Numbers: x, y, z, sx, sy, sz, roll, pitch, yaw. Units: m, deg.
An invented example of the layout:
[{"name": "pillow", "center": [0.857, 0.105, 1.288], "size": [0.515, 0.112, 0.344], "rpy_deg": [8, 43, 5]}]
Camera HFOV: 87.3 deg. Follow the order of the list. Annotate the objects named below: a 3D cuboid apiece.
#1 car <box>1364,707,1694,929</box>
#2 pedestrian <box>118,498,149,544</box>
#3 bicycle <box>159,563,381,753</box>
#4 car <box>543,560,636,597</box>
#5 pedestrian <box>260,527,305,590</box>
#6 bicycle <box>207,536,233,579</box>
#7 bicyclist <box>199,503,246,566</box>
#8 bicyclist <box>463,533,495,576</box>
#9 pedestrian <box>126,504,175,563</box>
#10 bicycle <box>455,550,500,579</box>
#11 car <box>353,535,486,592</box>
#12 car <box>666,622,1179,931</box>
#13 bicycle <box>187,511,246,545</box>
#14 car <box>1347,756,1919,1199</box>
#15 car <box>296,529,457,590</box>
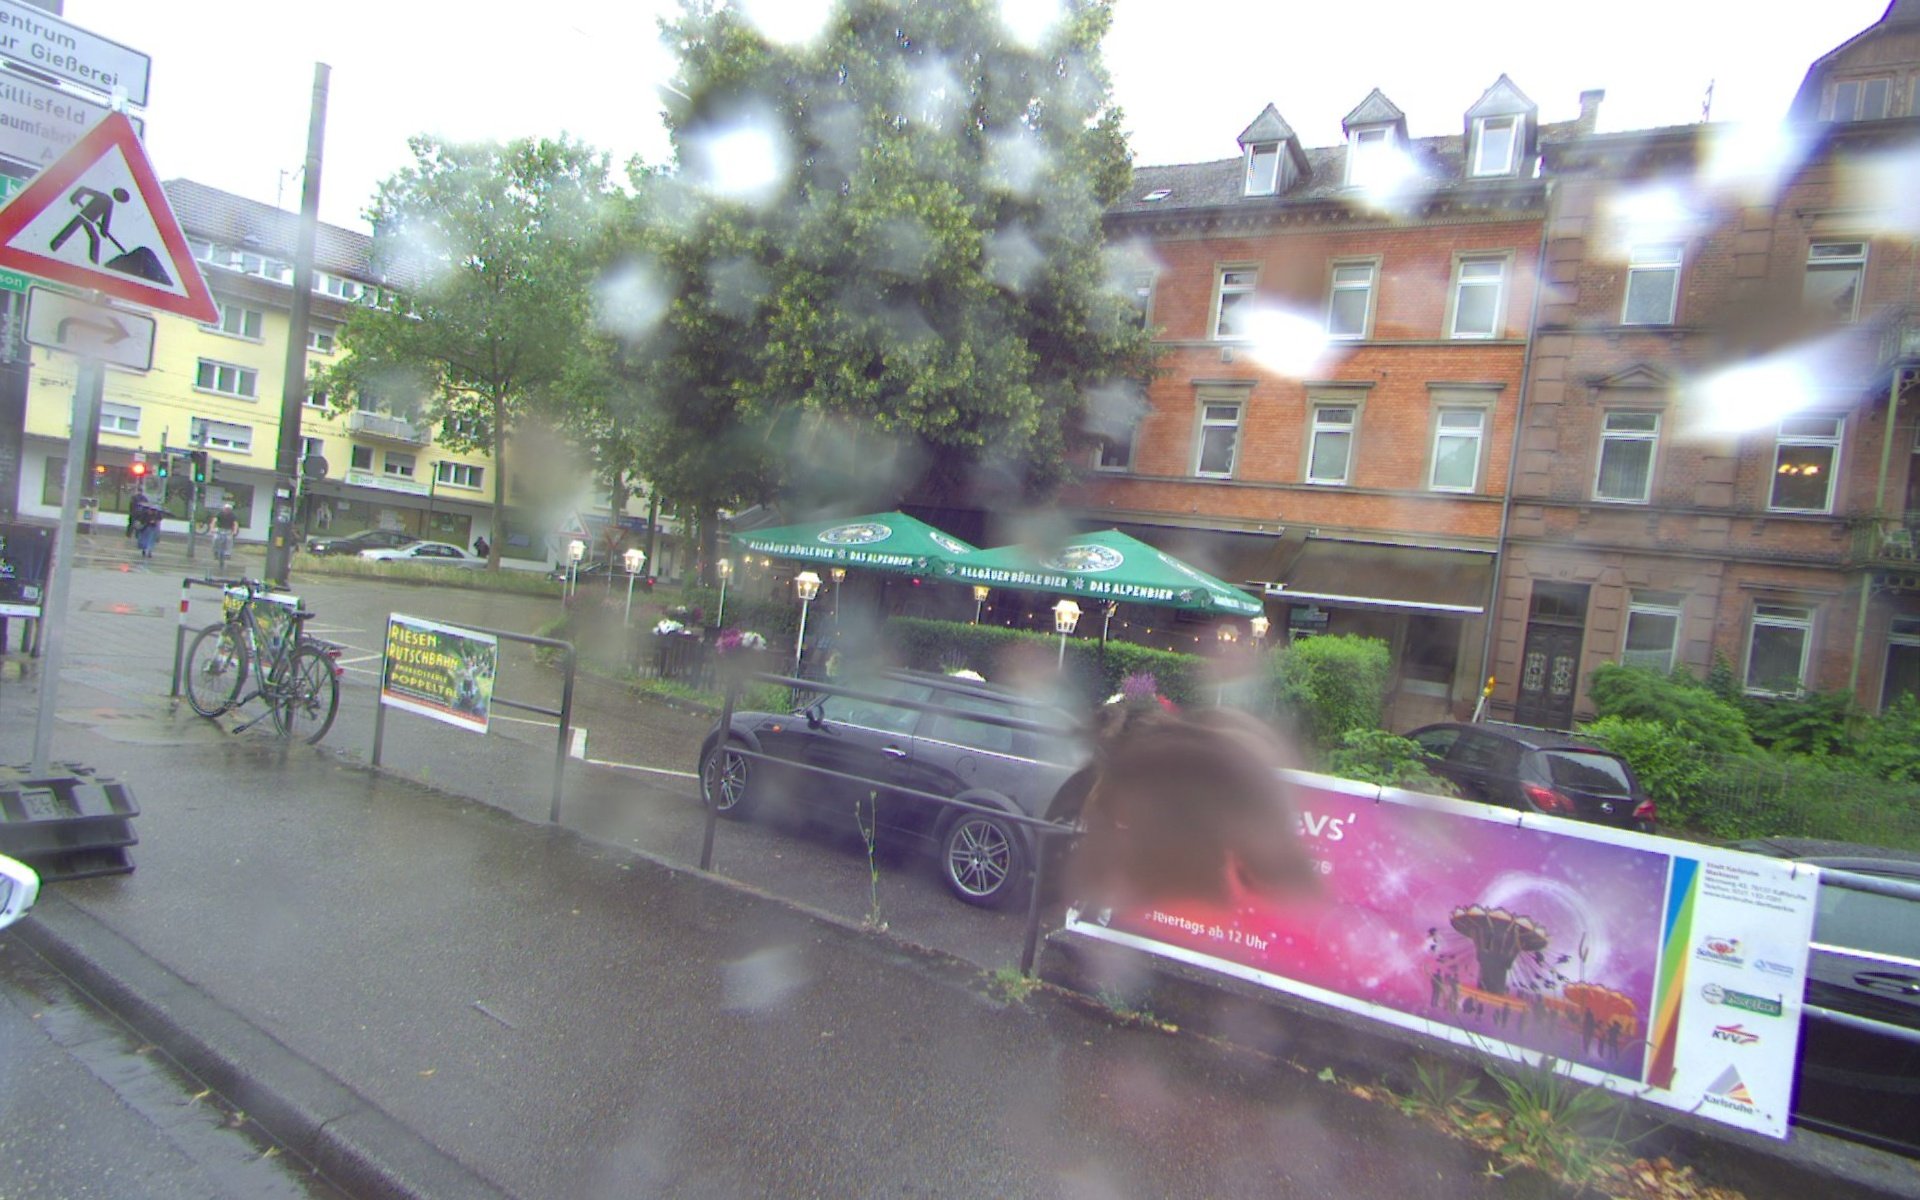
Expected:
[{"name": "car", "center": [6.585, 2.419, 12.252], "size": [1.962, 1.733, 4.004], "rpy_deg": [7, -1, 7]}, {"name": "pedestrian", "center": [-29.449, -2.825, 35.856], "size": [0.544, 1.518, 0.620], "rpy_deg": [7, 0, 39]}, {"name": "bicycle", "center": [-5.178, 0.400, 7.498], "size": [1.984, 1.119, 0.515], "rpy_deg": [7, -3, 33]}, {"name": "car", "center": [-15.515, -0.879, 42.274], "size": [1.227, 1.095, 3.531], "rpy_deg": [7, -2, 34]}, {"name": "pedestrian", "center": [-19.695, -1.205, 29.262], "size": [0.899, 1.689, 1.010], "rpy_deg": [7, -1, -35]}, {"name": "bicycle", "center": [-20.602, -1.196, 27.987], "size": [0.456, 1.040, 1.881], "rpy_deg": [7, 0, -38]}, {"name": "bicyclist", "center": [-20.495, -1.819, 27.958], "size": [0.874, 1.602, 0.851], "rpy_deg": [7, -1, -37]}, {"name": "bicyclist", "center": [-19.990, -1.880, 41.815], "size": [0.699, 1.634, 0.815], "rpy_deg": [7, 0, 32]}, {"name": "pedestrian", "center": [-23.168, -1.893, 28.806], "size": [0.612, 1.552, 0.816], "rpy_deg": [7, 0, -6]}, {"name": "bicycle", "center": [-20.035, -1.463, 41.810], "size": [0.415, 1.013, 1.640], "rpy_deg": [7, -1, 32]}, {"name": "car", "center": [-19.936, -1.330, 37.188], "size": [3.926, 1.508, 1.784], "rpy_deg": [8, 0, -43]}, {"name": "car", "center": [-0.352, 1.212, 7.801], "size": [3.468, 1.457, 1.710], "rpy_deg": [8, -3, 34]}, {"name": "bicycle", "center": [-35.602, -3.437, 48.196], "size": [2.096, 1.277, 0.525], "rpy_deg": [8, 0, -44]}, {"name": "car", "center": [4.192, 1.853, 4.960], "size": [3.907, 1.416, 1.706], "rpy_deg": [7, -1, 32]}, {"name": "car", "center": [-22.445, -1.523, 38.823], "size": [1.975, 1.661, 4.928], "rpy_deg": [3, -4, 43]}]
